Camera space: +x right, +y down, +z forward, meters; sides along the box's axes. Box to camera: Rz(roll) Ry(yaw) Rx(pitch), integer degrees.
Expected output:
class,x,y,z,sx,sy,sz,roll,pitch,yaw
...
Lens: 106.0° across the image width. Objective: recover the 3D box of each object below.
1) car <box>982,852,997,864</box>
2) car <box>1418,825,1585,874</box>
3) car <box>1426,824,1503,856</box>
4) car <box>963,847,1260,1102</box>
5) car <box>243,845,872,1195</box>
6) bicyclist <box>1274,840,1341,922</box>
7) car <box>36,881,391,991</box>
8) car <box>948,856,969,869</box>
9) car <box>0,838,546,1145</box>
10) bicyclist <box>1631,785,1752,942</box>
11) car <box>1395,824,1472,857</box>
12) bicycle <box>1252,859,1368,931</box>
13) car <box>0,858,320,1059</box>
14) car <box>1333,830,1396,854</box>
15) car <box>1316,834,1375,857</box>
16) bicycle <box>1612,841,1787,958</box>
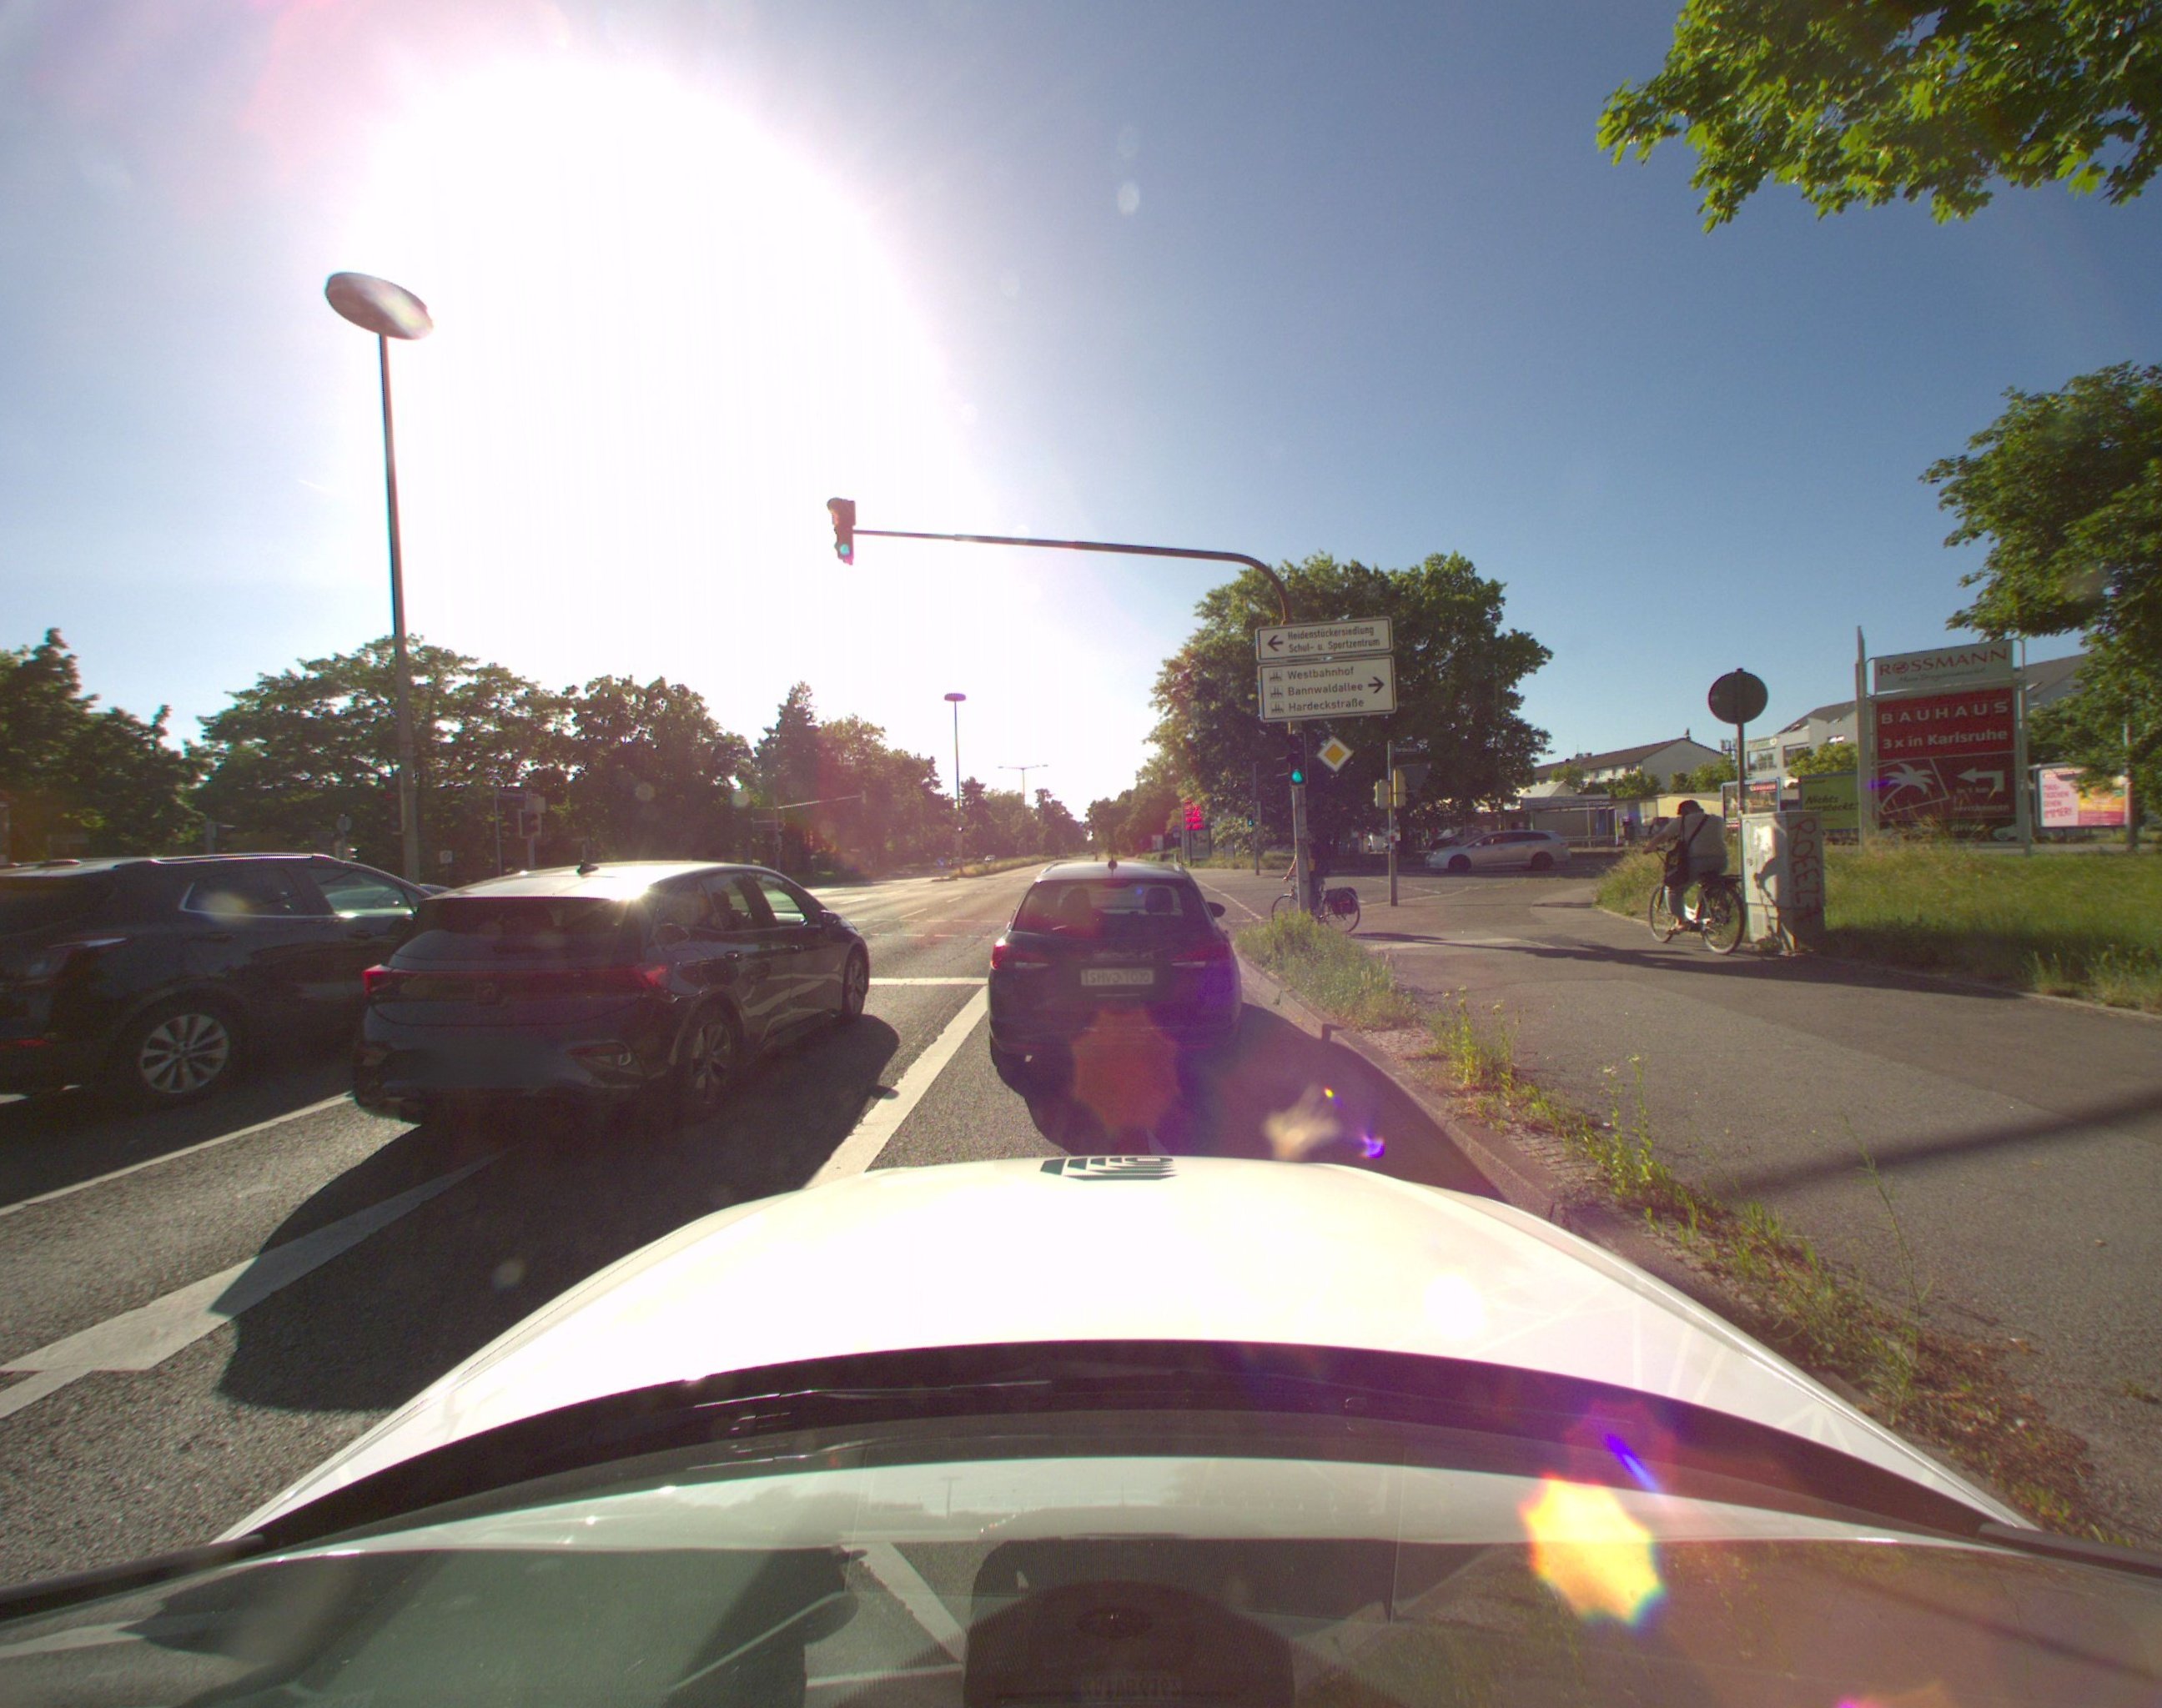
class,x,y,z,sx,sy,sz,roll,pitch,yaw
car,-15.777,0.646,140.488,1.986,2.013,4.001,-3,0,1
car,14.960,-0.166,29.294,4.969,1.486,2.007,-2,0,13
car,22.374,-0.816,47.526,4.002,1.680,1.733,-3,0,-21
car,0.246,0.730,6.965,1.750,1.495,4.208,-1,0,2
car,-2.963,0.777,5.857,1.678,1.580,4.208,-1,0,2
bicyclist,3.715,0.449,13.376,0.541,1.277,0.819,-3,-2,-42
car,-15.123,1.329,14.615,1.769,1.463,4.166,-3,0,2
car,-16.030,1.061,106.883,1.986,1.530,4.001,-3,0,1
car,-6.591,0.791,6.518,1.798,1.689,4.002,-3,0,2
bicyclist,6.637,0.092,8.905,0.575,1.581,1.000,-4,0,8
car,21.388,-0.838,49.374,4.003,1.749,1.985,-3,1,-22
bicycle,3.728,0.691,13.373,0.541,1.097,1.755,-3,-2,-42
car,-10.228,0.952,7.922,1.824,1.702,3.999,-3,0,0
car,19.659,-0.824,56.434,3.903,1.517,1.733,-3,0,-21
car,19.325,-0.618,59.526,3.903,1.517,1.733,-3,0,-21
bicycle,6.661,0.434,8.914,0.575,1.097,1.992,-4,0,8
